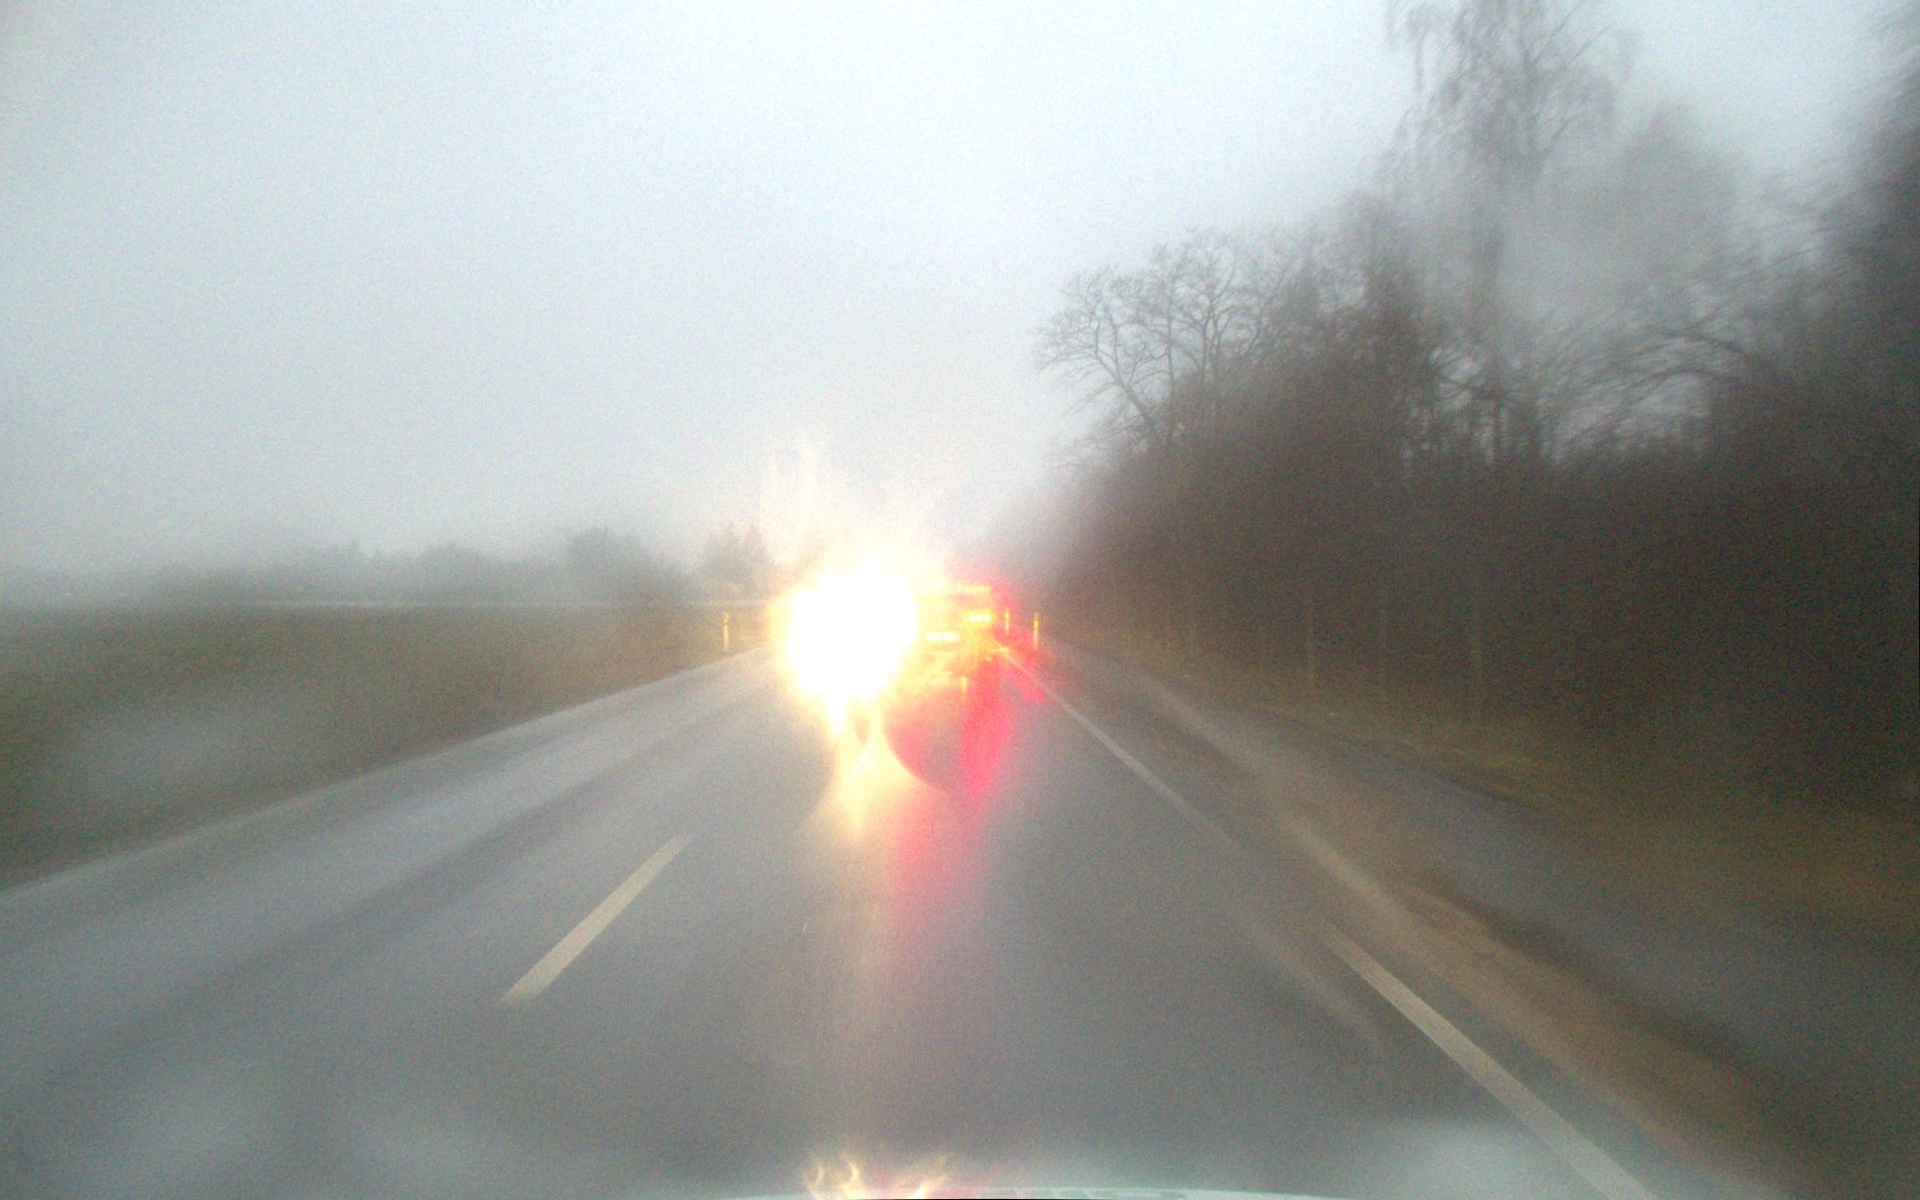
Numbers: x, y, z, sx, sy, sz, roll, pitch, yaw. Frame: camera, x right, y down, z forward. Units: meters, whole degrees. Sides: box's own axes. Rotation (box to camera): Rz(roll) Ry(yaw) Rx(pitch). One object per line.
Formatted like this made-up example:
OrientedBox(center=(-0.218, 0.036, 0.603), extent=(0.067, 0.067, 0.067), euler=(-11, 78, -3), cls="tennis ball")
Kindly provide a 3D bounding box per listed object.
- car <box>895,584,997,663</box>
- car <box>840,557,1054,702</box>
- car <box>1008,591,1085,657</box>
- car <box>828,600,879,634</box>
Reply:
OrientedBox(center=(-0.414, 0.609, 47.544), extent=(2.700, 2.071, 6.589), euler=(-1, 0, -1), cls="car")
OrientedBox(center=(-0.231, 0.409, 27.564), extent=(3.100, 2.071, 6.850), euler=(-1, 0, -1), cls="car")
OrientedBox(center=(2.402, 0.659, 46.903), extent=(1.889, 1.780, 3.999), euler=(1, 0, -1), cls="car")
OrientedBox(center=(-4.523, 0.719, 70.948), extent=(1.953, 1.396, 4.397), euler=(1, 0, -1), cls="car")
